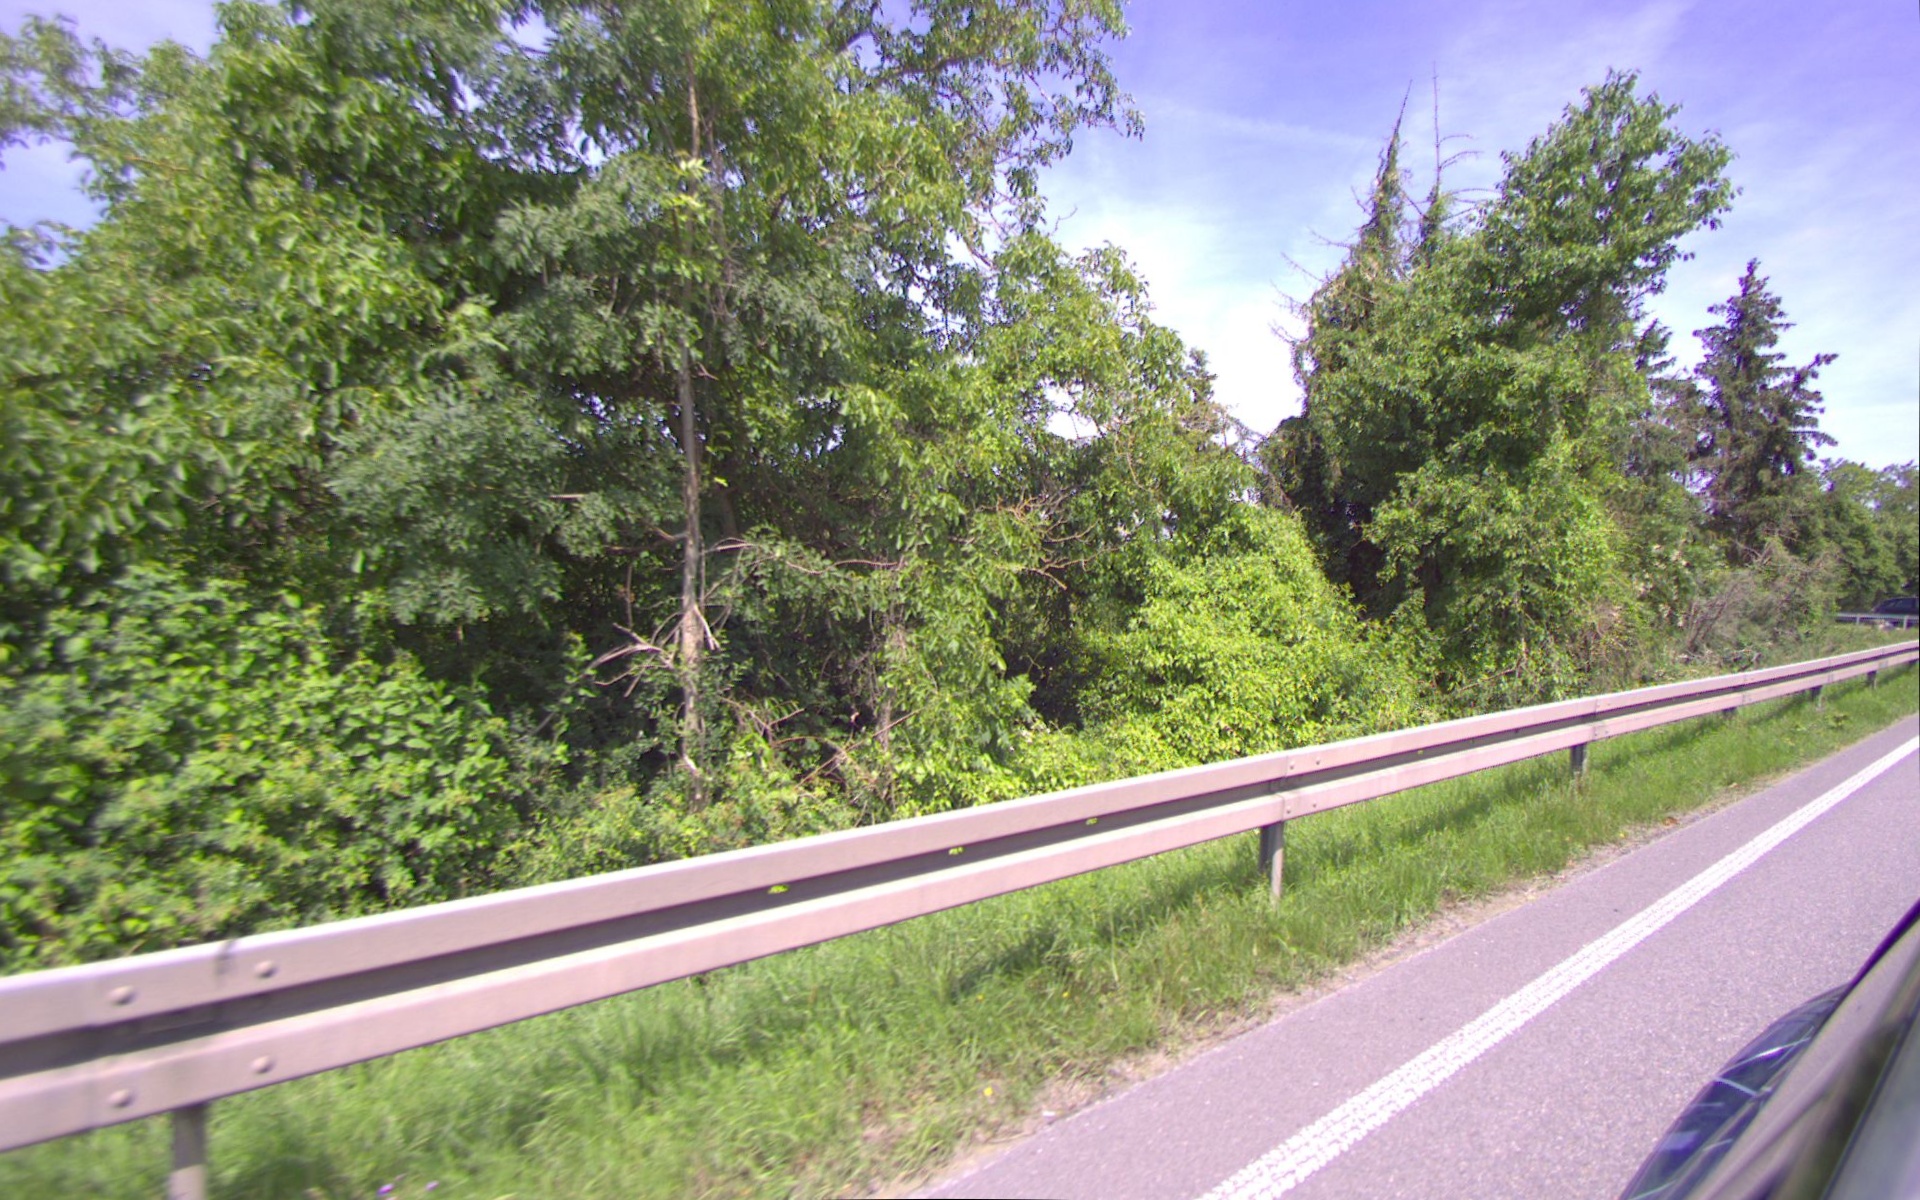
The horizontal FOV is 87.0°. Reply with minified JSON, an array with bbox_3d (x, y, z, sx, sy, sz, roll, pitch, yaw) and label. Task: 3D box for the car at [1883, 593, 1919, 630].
[{"bbox_3d":[43.733,0.533,44.406,2.021,1.610,4.438,1,0,-12],"label":"car"}]
